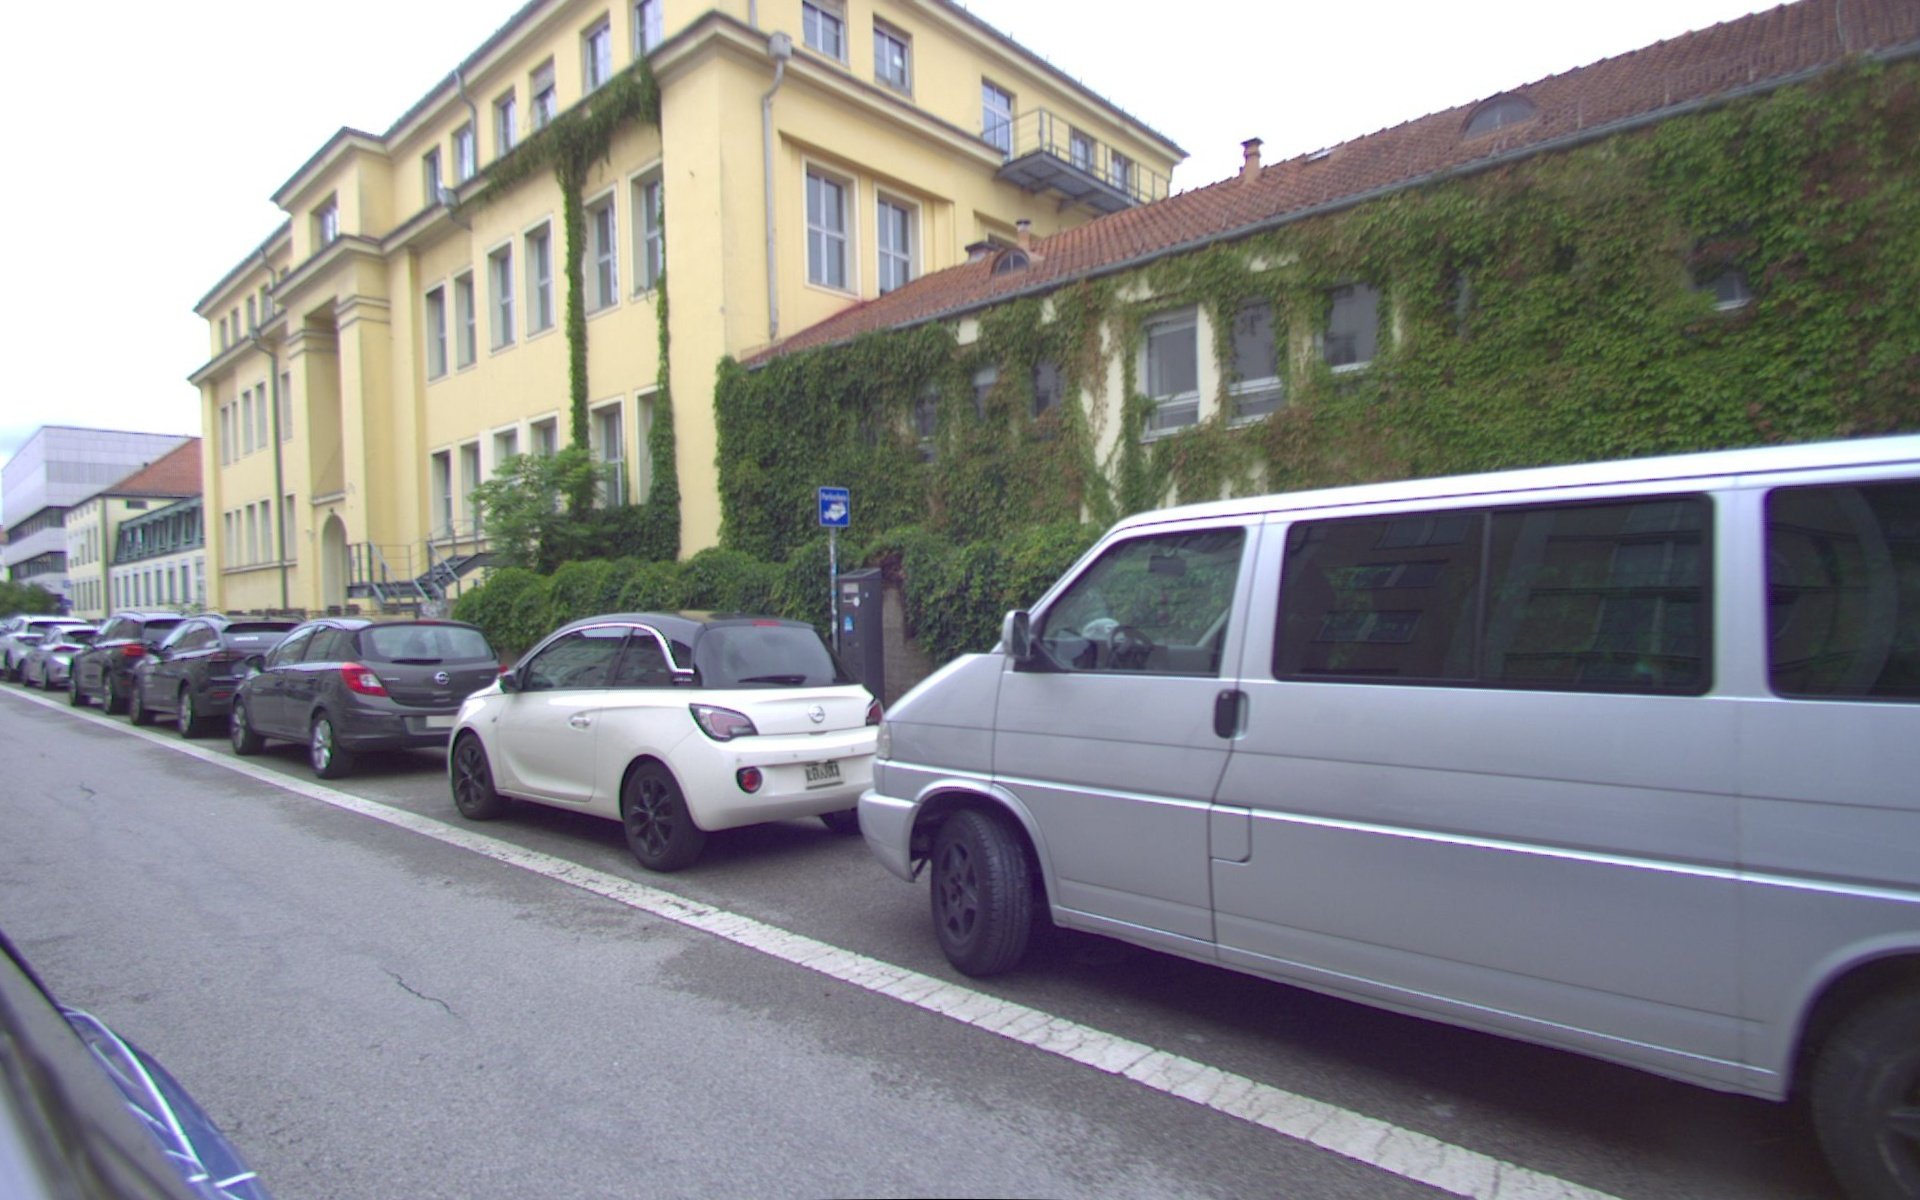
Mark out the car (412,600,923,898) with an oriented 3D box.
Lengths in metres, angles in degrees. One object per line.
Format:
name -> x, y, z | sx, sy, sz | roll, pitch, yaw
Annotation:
car -> -2.155, 0.807, 6.943 | 3.727, 1.504, 1.562 | -1, -3, 40

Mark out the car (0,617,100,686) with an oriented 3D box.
car -> -23.828, 1.321, 26.080 | 4.351, 1.646, 1.663 | -2, -4, 39

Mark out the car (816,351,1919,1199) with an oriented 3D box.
car -> 1.781, 0.481, 3.660 | 4.757, 1.890, 1.972 | -2, -3, 42

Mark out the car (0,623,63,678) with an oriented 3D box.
car -> -27.867, 1.462, 29.702 | 3.969, 1.516, 1.663 | -2, -3, 39

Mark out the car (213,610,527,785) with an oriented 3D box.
car -> -6.150, 0.897, 10.382 | 3.901, 1.467, 1.562 | -2, -3, 40

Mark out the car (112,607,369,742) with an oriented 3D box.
car -> -9.752, 0.936, 13.612 | 4.145, 1.550, 1.764 | -2, -3, 39

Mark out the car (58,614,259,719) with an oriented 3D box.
car -> -13.533, 1.072, 17.010 | 4.191, 1.550, 1.764 | -2, -4, 39

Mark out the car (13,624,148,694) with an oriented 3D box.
car -> -19.700, 1.291, 22.624 | 3.892, 1.437, 1.662 | -1, -4, 40

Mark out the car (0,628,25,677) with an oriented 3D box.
car -> -31.511, 1.659, 32.550 | 3.983, 1.507, 1.662 | -1, -3, 41

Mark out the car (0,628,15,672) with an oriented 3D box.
car -> -35.539, 1.765, 36.457 | 4.085, 1.539, 1.705 | -2, -4, 41
